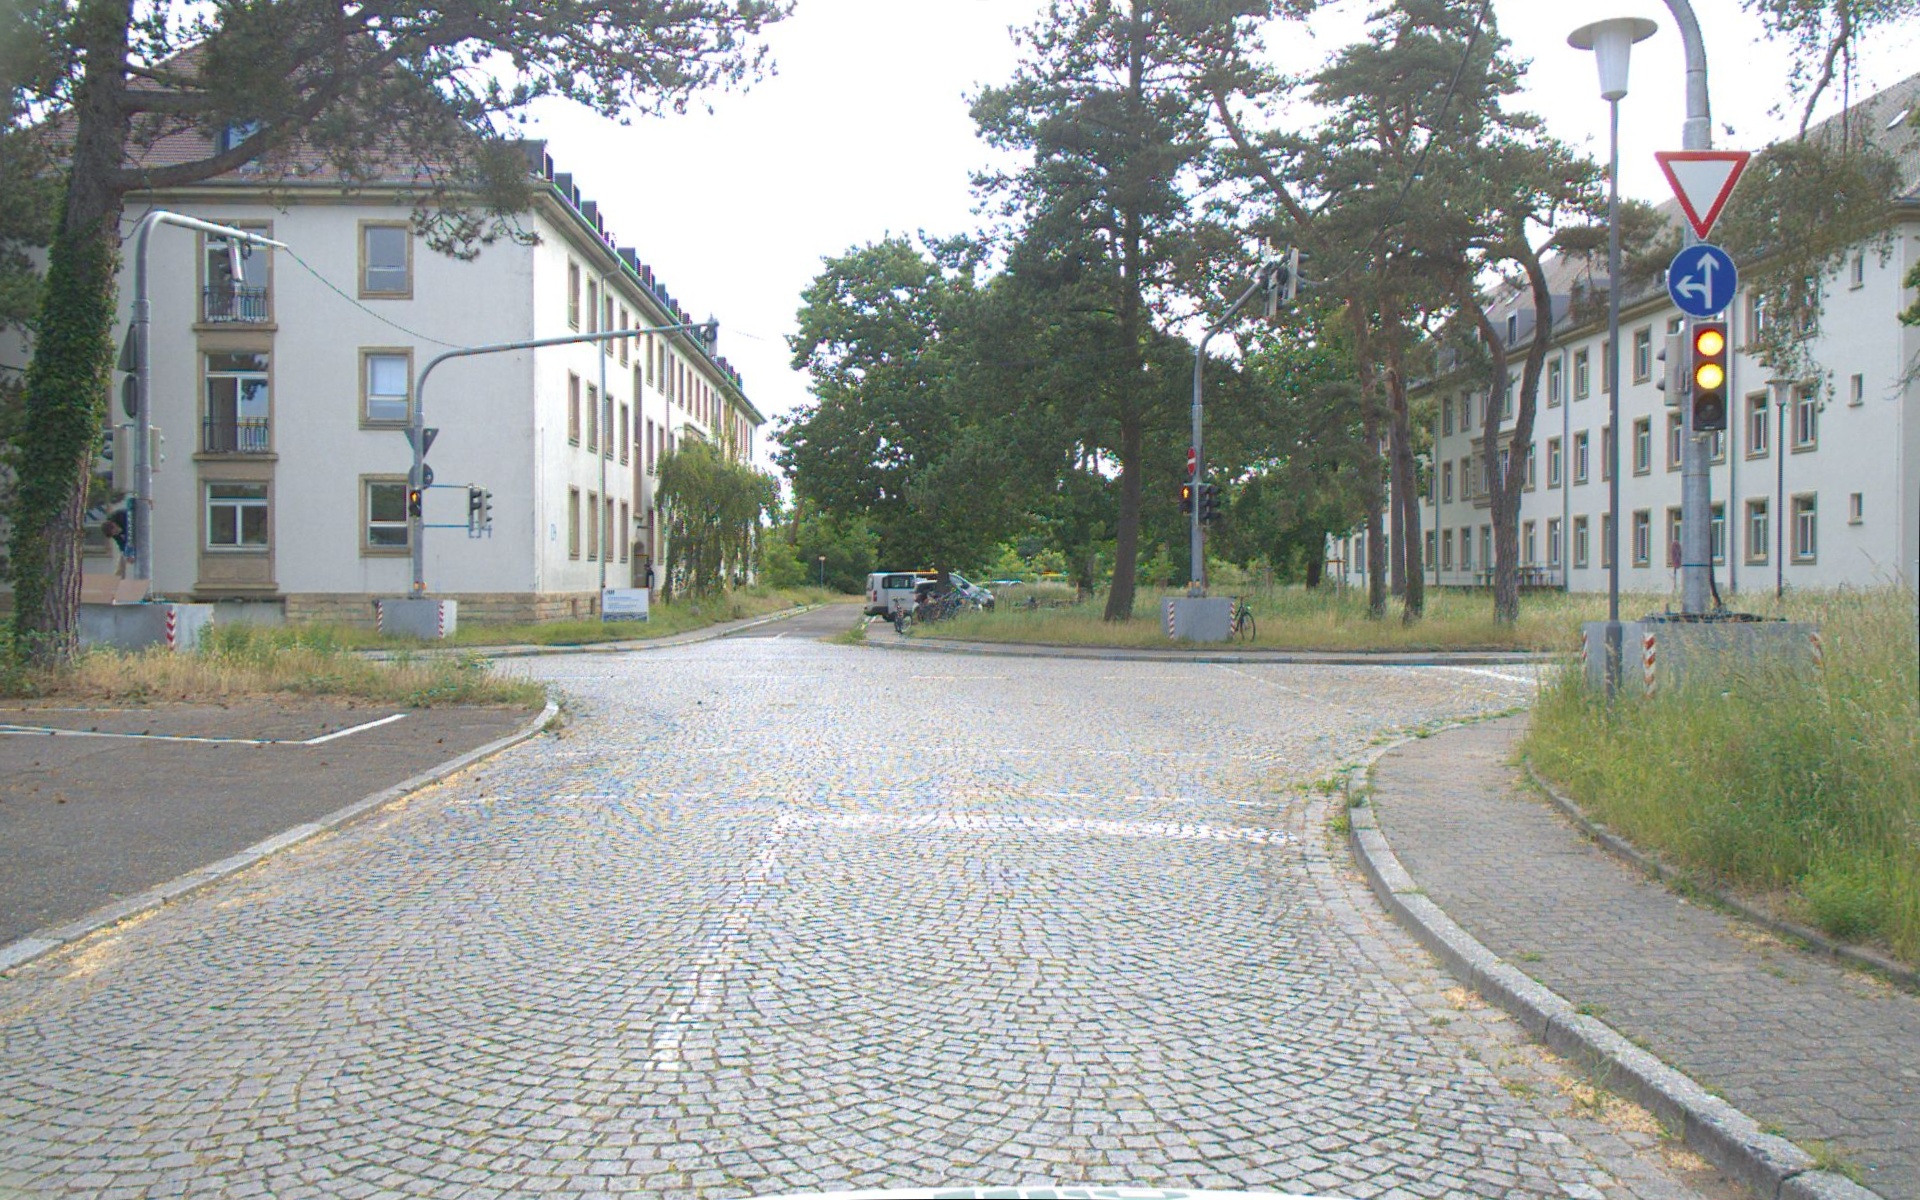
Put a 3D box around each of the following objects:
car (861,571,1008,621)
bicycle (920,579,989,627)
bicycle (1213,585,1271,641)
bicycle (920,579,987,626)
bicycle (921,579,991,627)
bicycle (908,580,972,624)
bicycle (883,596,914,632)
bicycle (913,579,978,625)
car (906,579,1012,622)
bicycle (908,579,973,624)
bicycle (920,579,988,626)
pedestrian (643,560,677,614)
[{"bbox_3d":[-1.041,-0.176,66.270,5.595,1.943,2.222,0,0,-14],"label":"car"},{"bbox_3d":[-0.175,0.079,49.072,2.028,1.402,0.620,0,0,-1],"label":"bicycle"},{"bbox_3d":[6.170,0.280,36.302,0.890,1.197,1.873,0,0,-2],"label":"bicycle"},{"bbox_3d":[-0.209,0.074,50.493,2.028,1.402,0.620,0,0,-1],"label":"bicycle"},{"bbox_3d":[-0.115,0.083,48.403,2.028,1.402,0.620,0,0,-1],"label":"bicycle"},{"bbox_3d":[-0.626,0.054,52.765,2.028,1.402,0.620,0,0,-1],"label":"bicycle"},{"bbox_3d":[-1.730,0.377,46.563,0.605,0.980,2.078,0,1,5],"label":"bicycle"},{"bbox_3d":[-0.452,0.062,51.285,2.028,1.402,0.620,0,0,-1],"label":"bicycle"},{"bbox_3d":[-0.077,0.009,62.926,3.857,1.571,1.997,0,0,-6],"label":"car"},{"bbox_3d":[-0.620,0.056,52.018,2.028,1.402,0.620,0,0,-1],"label":"bicycle"},{"bbox_3d":[-0.195,0.076,49.696,2.028,1.402,0.620,0,0,-1],"label":"bicycle"},{"bbox_3d":[-11.514,-0.496,63.590,1.064,2.049,1.022,0,0,4],"label":"pedestrian"}]
